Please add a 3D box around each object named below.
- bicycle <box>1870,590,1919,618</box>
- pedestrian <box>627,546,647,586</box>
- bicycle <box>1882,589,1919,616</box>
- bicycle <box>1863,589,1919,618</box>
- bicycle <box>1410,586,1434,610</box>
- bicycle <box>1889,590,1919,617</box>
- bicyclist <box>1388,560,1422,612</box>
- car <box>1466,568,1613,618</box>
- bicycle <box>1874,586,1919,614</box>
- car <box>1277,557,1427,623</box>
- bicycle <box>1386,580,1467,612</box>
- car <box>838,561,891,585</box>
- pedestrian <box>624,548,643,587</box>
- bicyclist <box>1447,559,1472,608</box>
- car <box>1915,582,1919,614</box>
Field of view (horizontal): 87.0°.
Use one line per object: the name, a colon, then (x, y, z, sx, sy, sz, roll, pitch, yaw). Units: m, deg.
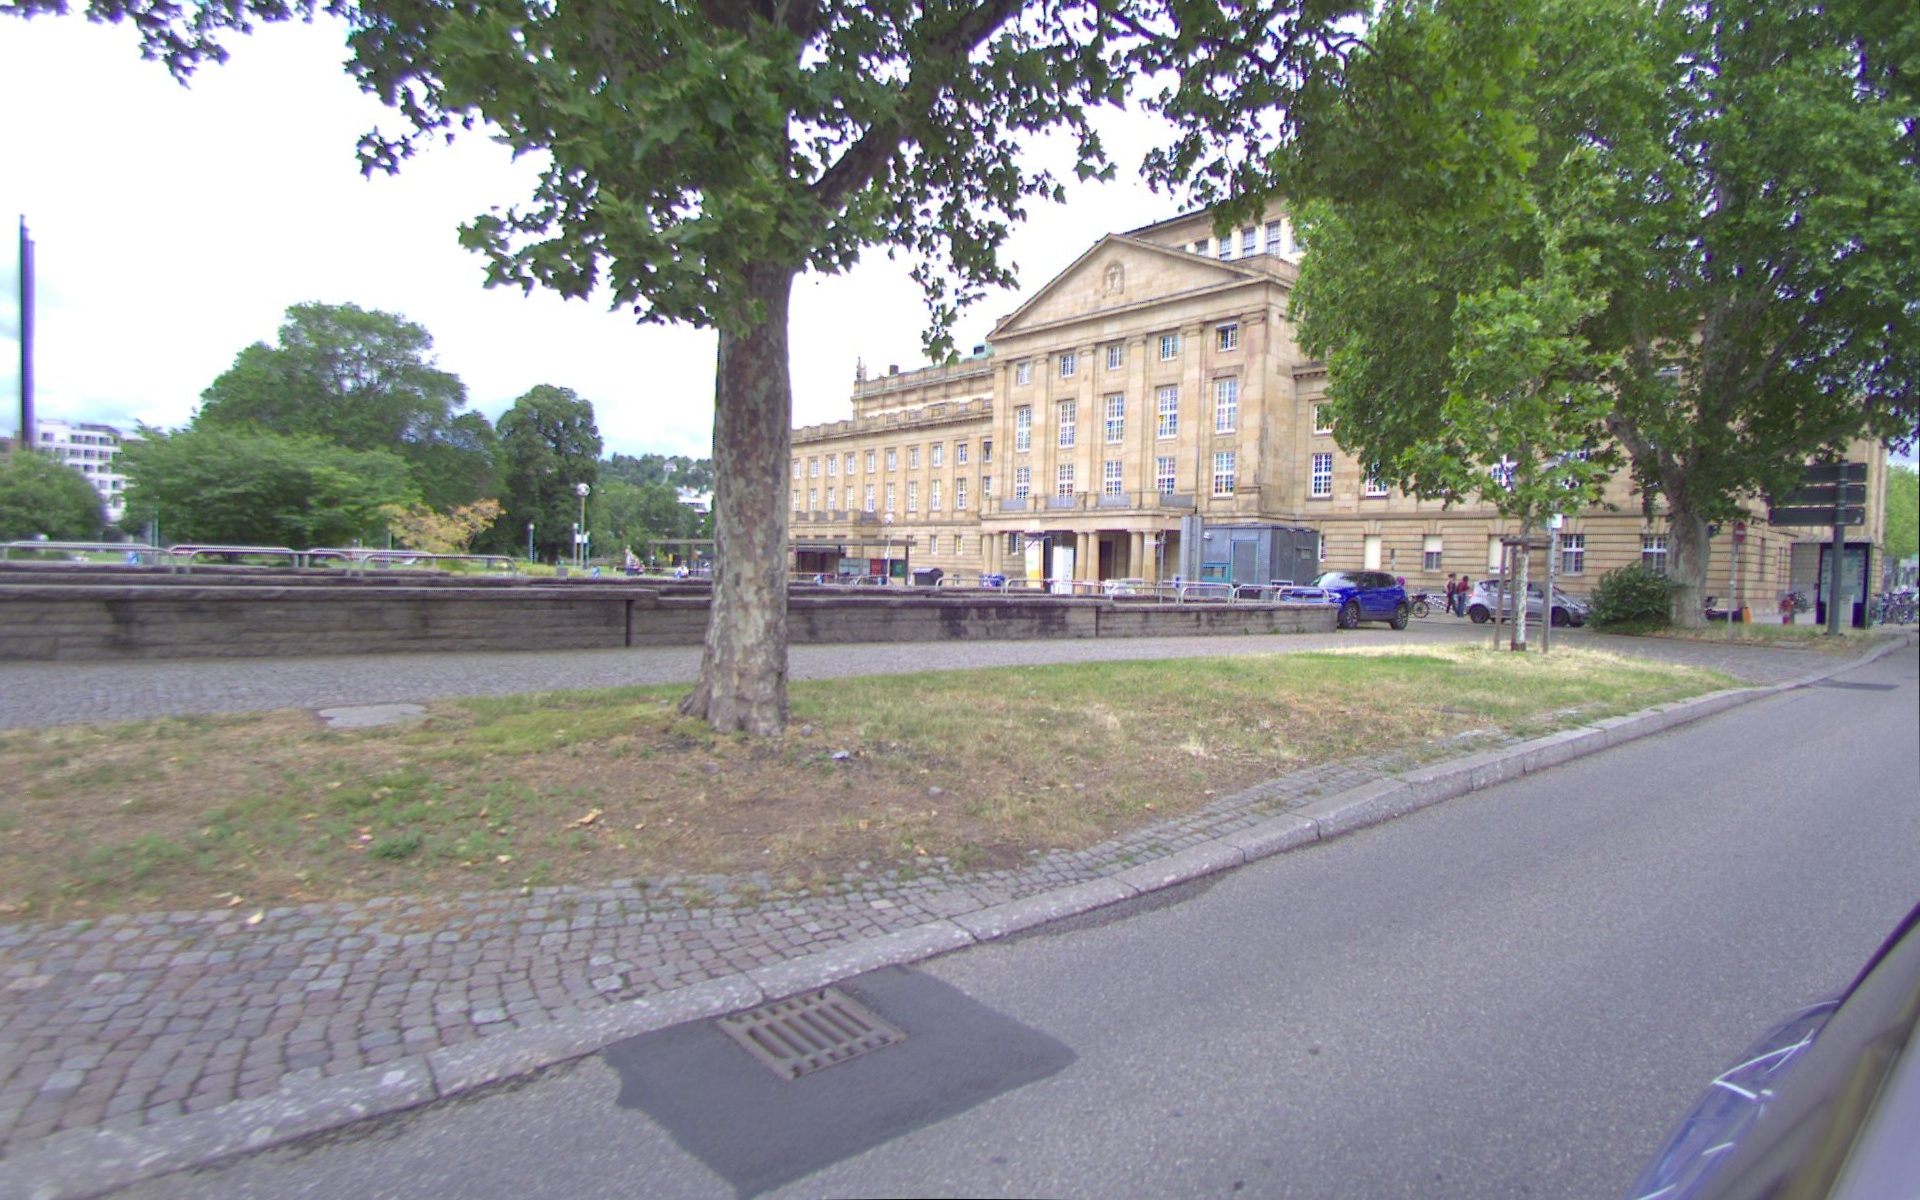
bicycle: (38.740, 0.147, 41.681, 1.834, 1.085, 0.610, 3, 2, 42)
pedestrian: (-16.765, -1.771, 52.500, 0.799, 2.039, 0.768, -2, 1, -30)
bicycle: (40.241, 0.112, 42.744, 1.826, 1.085, 0.526, 2, 2, 30)
bicycle: (38.167, 0.123, 41.330, 1.912, 1.112, 0.533, 3, 2, 42)
bicycle: (19.783, -0.098, 43.369, 0.907, 0.942, 2.658, 0, 1, 24)
bicycle: (39.706, 0.141, 41.880, 1.834, 1.085, 0.524, 3, 2, 42)
bicyclist: (18.100, -0.573, 41.170, 1.096, 2.039, 1.000, 2, 1, 33)
car: (19.627, -0.248, 34.388, 1.704, 1.616, 3.994, -1, 1, -41)
bicycle: (41.125, 0.011, 44.013, 1.921, 1.146, 0.535, 2, 2, 30)
car: (10.262, -0.235, 26.396, 4.140, 1.536, 1.768, 2, 1, -39)
bicycle: (18.745, -0.169, 40.715, 2.825, 1.199, 1.085, 2, 2, 34)
car: (-7.123, -1.977, 75.111, 1.965, 1.738, 3.994, -1, 1, -40)
pedestrian: (-17.192, -1.708, 53.303, 0.799, 2.039, 0.860, -2, 1, -28)
bicyclist: (20.926, -0.689, 42.380, 0.869, 2.039, 0.837, -1, 0, 24)
car: (48.666, -0.114, 49.826, 3.928, 1.549, 1.844, -1, 3, -38)
